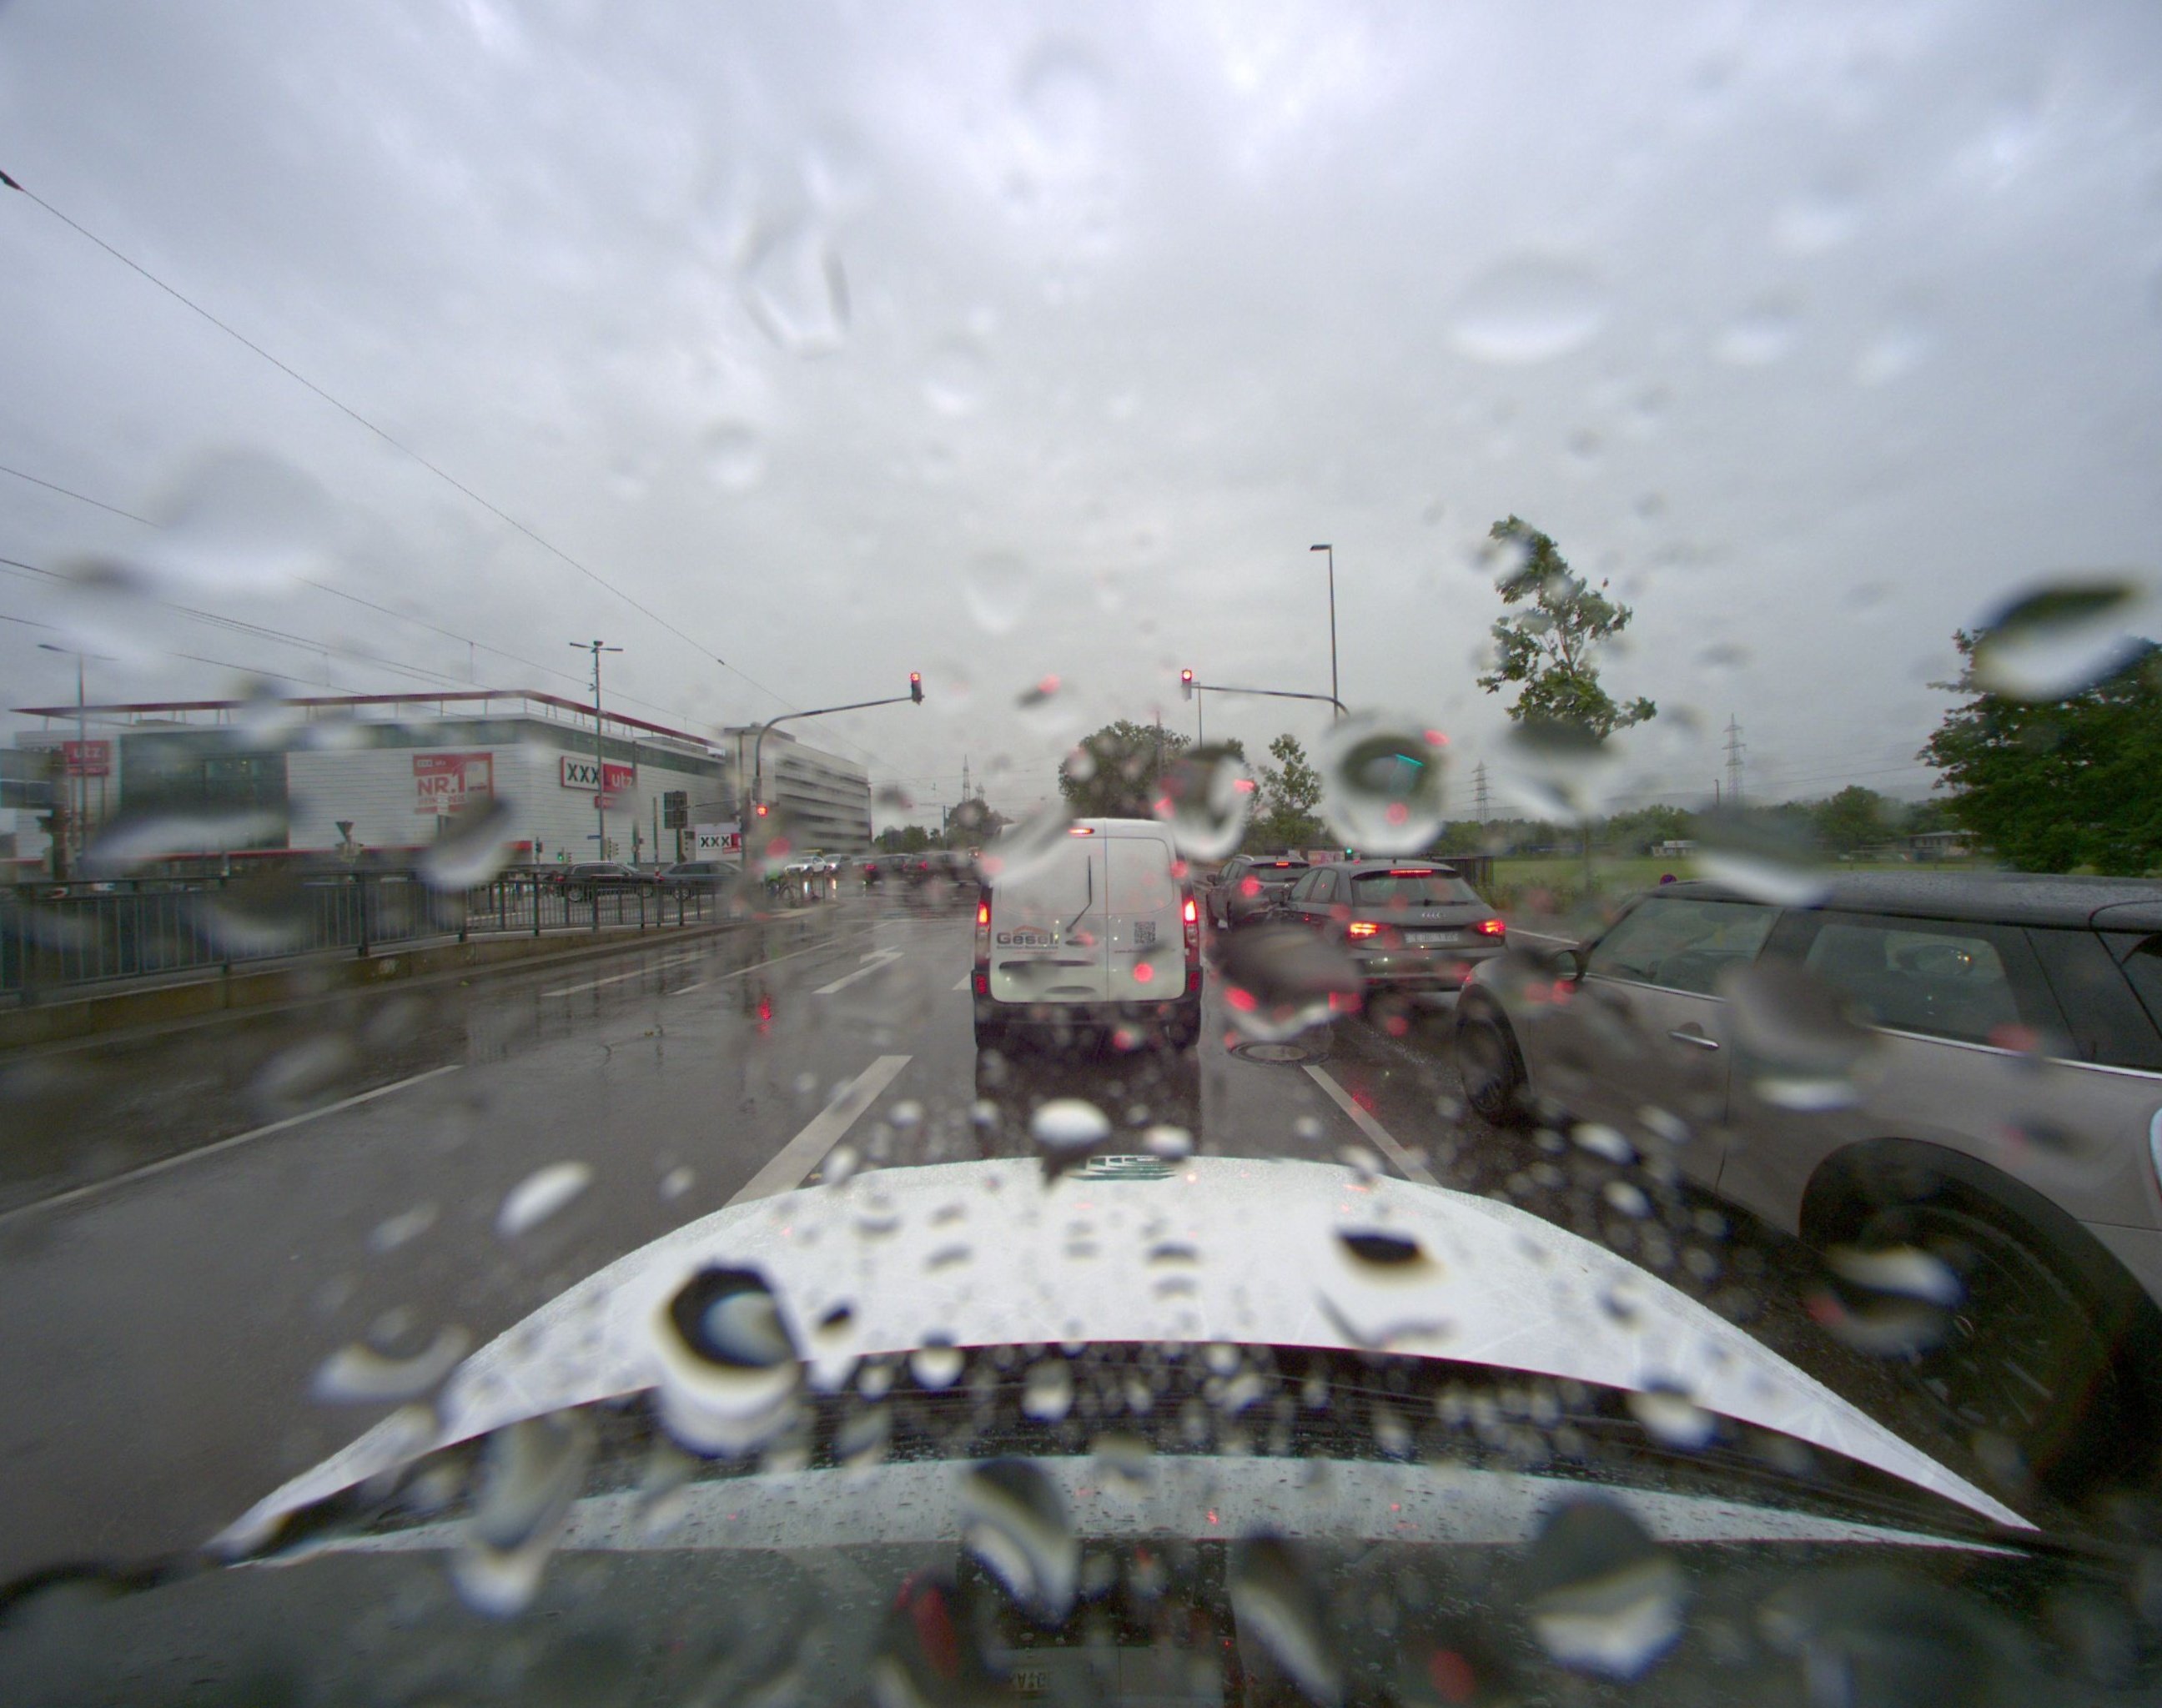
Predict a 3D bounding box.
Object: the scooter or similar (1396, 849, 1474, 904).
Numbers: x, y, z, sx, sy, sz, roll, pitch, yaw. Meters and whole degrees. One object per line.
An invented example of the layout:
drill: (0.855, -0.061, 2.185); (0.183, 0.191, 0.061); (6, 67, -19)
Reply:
scooter or similar: (8.523, 0.498, 19.773); (0.687, 1.211, 3.022); (-2, 0, 3)

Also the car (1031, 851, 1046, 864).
car: (-5.821, 0.491, 112.577); (1.942, 1.662, 4.461); (1, -1, -1)

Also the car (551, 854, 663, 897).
car: (-20.101, 0.917, 34.695); (3.794, 1.674, 1.697); (2, 0, -18)

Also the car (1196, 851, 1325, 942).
car: (3.264, 0.718, 15.528); (1.678, 1.508, 3.921); (0, 0, 1)

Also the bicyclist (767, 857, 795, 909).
bicyclist: (-8.757, 0.826, 23.799); (0.608, 1.491, 0.593); (0, -1, -39)

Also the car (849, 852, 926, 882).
car: (-9.786, 0.680, 41.355); (1.630, 1.398, 3.475); (2, 0, 40)

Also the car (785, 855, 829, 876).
car: (-19.428, 0.810, 57.820); (1.704, 1.426, 3.810); (1, -1, 2)

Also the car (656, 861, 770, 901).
car: (-14.120, 1.045, 31.441); (3.795, 1.398, 1.526); (2, 0, -19)

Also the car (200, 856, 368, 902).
car: (-27.173, 0.850, 27.895); (3.735, 1.507, 1.643); (1, -1, -13)

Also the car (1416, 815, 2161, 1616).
car: (2.957, 0.704, 3.294); (1.696, 1.508, 3.881); (1, 0, 2)

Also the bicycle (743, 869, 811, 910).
bicycle: (-8.825, 1.016, 23.686); (1.768, 1.137, 0.514); (0, -1, -41)

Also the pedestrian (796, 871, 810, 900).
pedestrian: (-8.826, 0.988, 25.883); (0.314, 0.897, 0.380); (1, 0, -1)

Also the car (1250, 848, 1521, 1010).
car: (3.072, 0.702, 9.018); (1.592, 1.366, 3.629); (-2, -1, 0)

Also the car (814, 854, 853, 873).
car: (-19.331, 0.773, 63.729); (1.704, 1.426, 3.810); (1, -1, 2)

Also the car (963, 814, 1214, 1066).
car: (0.004, 0.574, 7.823); (1.749, 1.750, 4.166); (-1, 1, -2)

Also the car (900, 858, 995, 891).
car: (-5.990, 0.933, 36.698); (3.943, 1.398, 1.518); (2, 0, -39)

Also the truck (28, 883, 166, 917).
truck: (-60.246, 2.818, 49.948); (5.859, 1.942, 2.012); (1, -1, 0)
